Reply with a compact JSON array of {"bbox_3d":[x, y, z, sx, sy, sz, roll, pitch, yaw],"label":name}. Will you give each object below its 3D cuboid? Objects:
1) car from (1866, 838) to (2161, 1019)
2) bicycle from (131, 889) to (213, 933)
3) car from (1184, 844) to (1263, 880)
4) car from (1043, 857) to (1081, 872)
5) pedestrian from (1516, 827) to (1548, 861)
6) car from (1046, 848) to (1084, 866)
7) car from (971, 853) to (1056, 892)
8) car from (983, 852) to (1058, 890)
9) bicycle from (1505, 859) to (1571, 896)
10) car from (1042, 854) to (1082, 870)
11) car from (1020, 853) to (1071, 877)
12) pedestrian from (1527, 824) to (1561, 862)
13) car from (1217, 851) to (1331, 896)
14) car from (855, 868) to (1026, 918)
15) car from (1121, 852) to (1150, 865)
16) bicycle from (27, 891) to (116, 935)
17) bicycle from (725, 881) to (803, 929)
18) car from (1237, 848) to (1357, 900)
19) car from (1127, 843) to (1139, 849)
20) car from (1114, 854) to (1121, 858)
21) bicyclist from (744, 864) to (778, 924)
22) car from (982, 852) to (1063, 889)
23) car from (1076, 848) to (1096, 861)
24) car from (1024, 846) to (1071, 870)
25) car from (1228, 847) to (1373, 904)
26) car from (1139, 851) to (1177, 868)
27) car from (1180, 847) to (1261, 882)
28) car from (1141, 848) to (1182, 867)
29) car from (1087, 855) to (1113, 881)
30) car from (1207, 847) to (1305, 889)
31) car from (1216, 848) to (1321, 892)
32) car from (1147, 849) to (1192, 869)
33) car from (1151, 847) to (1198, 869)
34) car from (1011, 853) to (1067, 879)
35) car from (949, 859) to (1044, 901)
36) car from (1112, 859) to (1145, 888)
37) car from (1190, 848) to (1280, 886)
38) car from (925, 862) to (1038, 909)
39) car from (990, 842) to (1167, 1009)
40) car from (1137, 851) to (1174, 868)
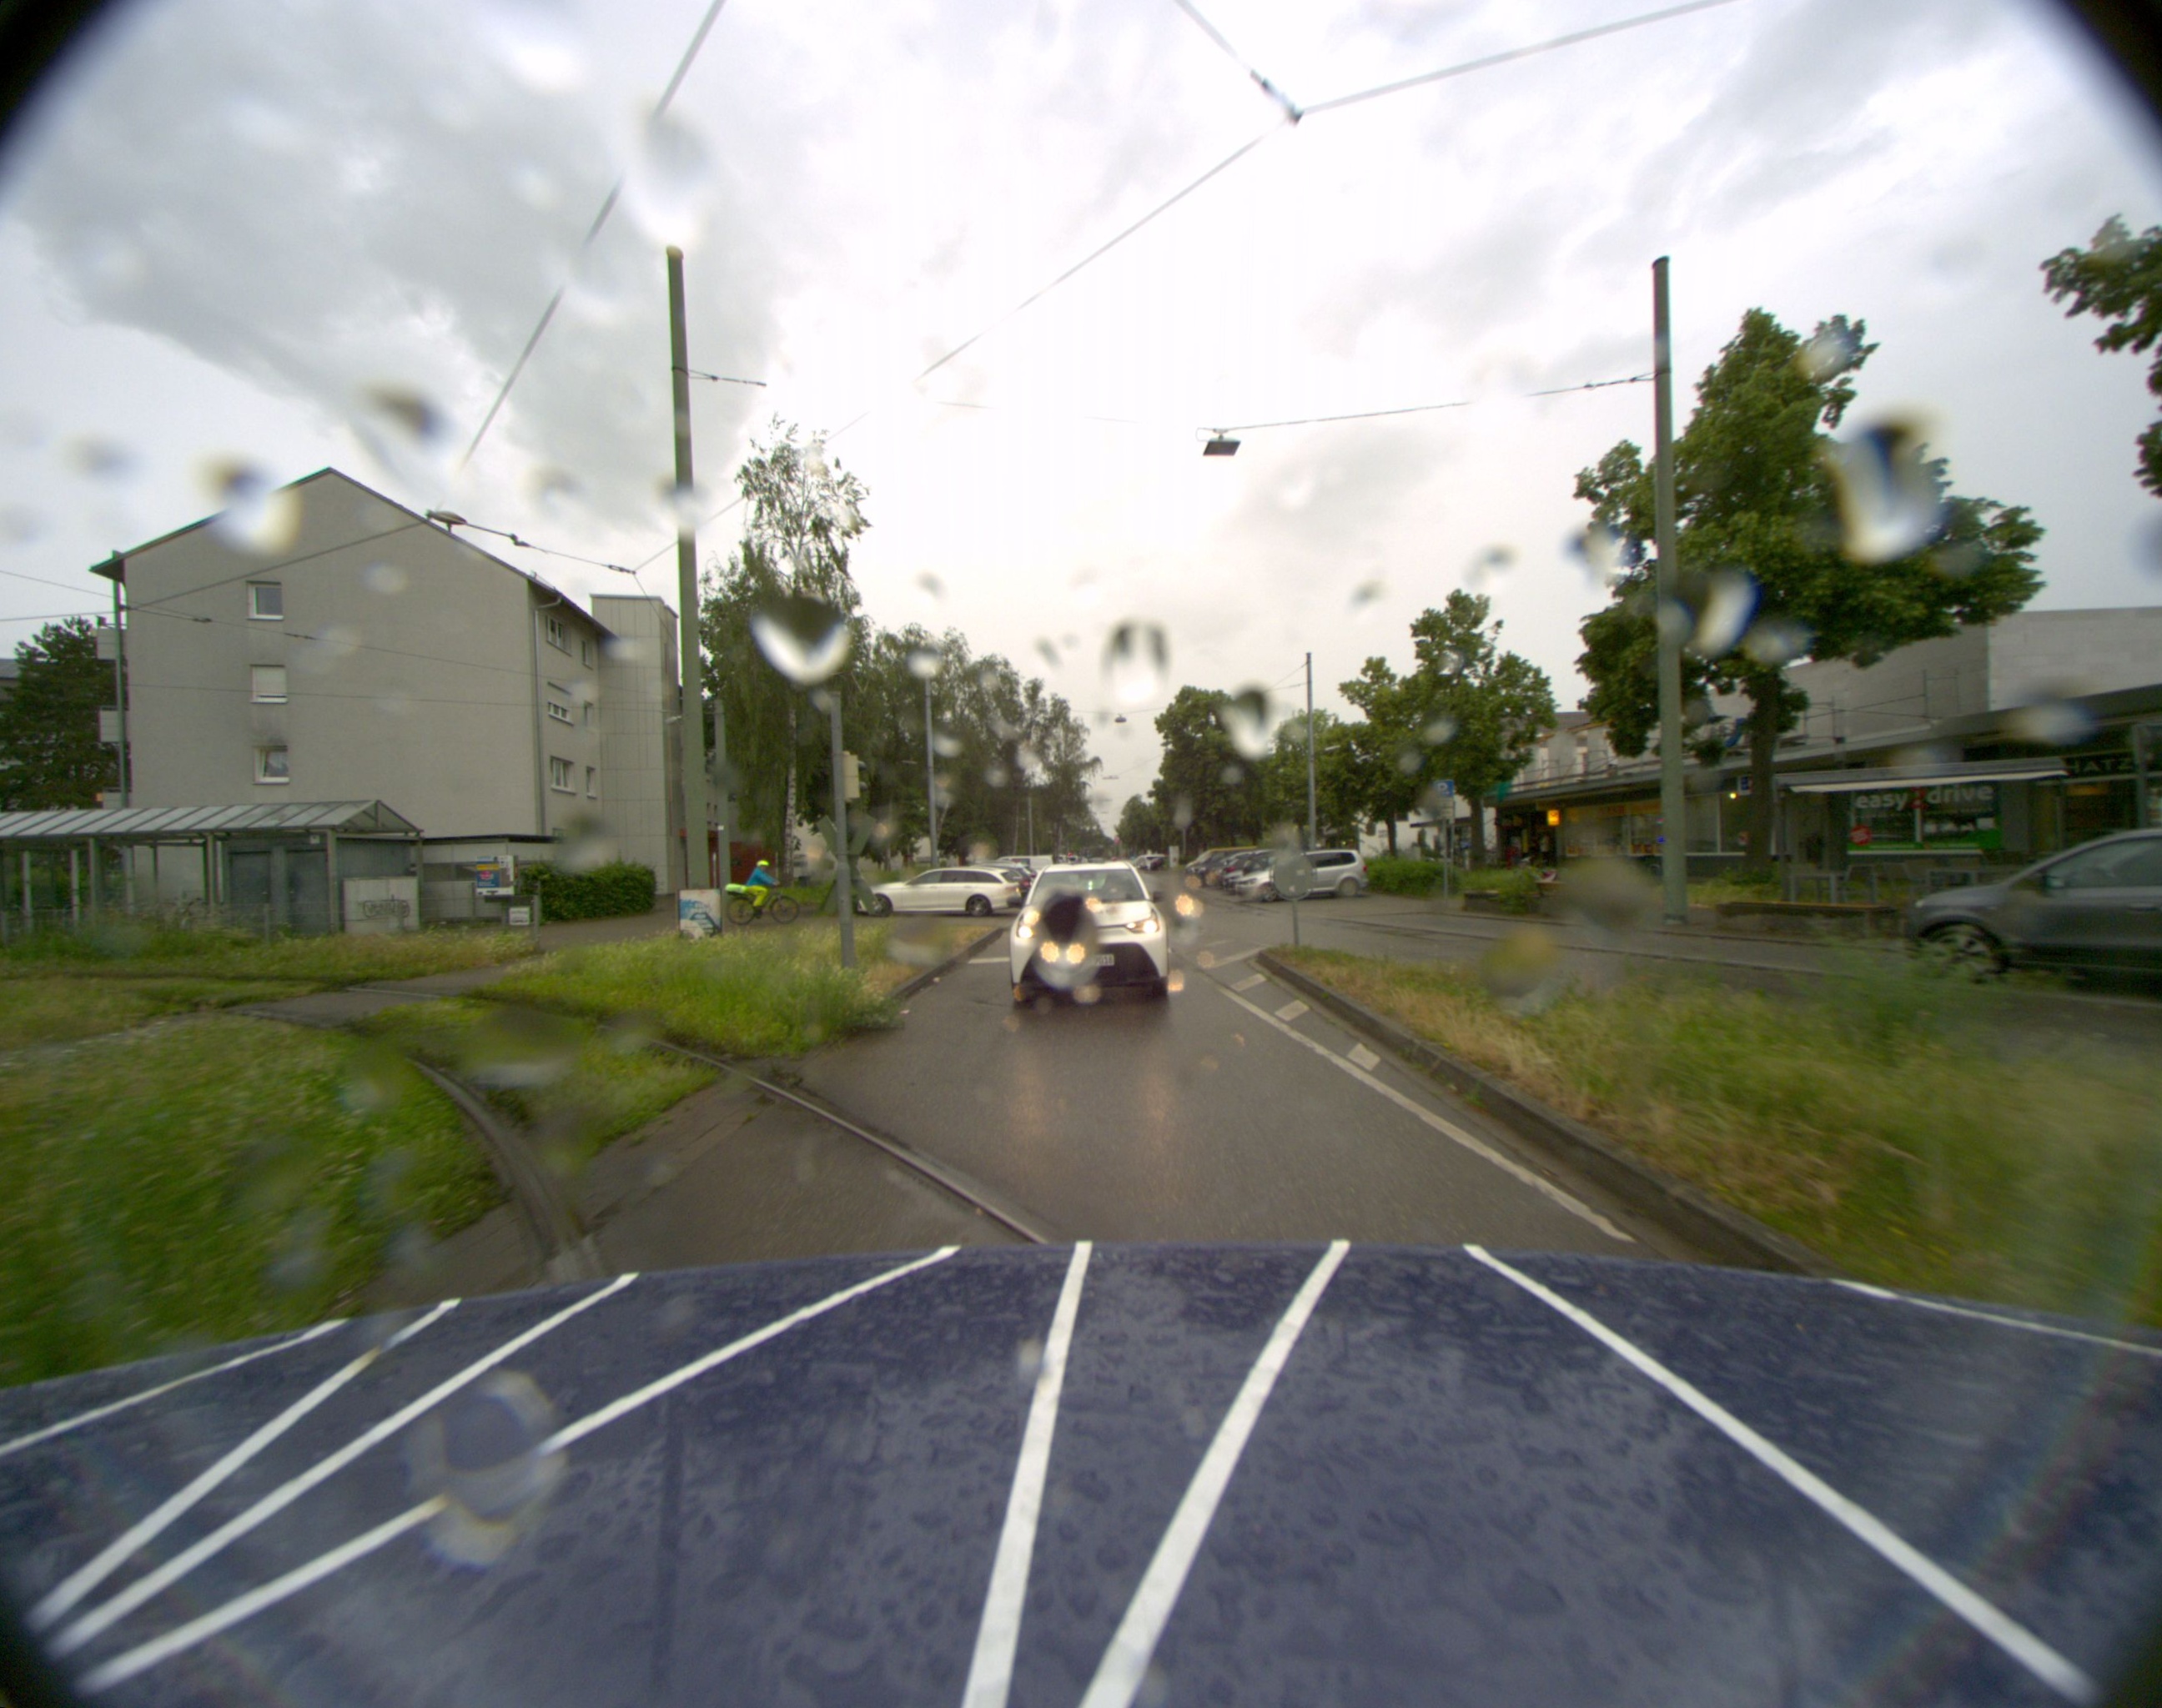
[{"bbox_3d":[9.988,0.631,6.905,1.553,1.494,3.618,-4,0,-16],"label":"car"},{"bbox_3d":[-21.981,1.370,18.397,0.377,0.950,1.238,-4,0,4],"label":"bicycle"},{"bbox_3d":[8.900,0.502,47.660,4.546,1.931,1.899,-3,0,0],"label":"car"},{"bbox_3d":[-2.287,1.301,91.859,4.546,1.574,1.899,-3,0,0],"label":"car"},{"bbox_3d":[21.672,-0.482,36.551,1.078,1.575,0.948,-1,1,12],"label":"pedestrian"},{"bbox_3d":[-2.002,0.422,94.942,4.546,2.013,1.899,-3,0,0],"label":"car"},{"bbox_3d":[-3.698,1.003,42.165,4.441,1.835,1.723,-4,0,2],"label":"car"},{"bbox_3d":[-3.741,1.049,47.409,4.443,2.050,1.722,-4,0,-2],"label":"car"},{"bbox_3d":[13.842,0.701,23.067,0.594,1.066,1.748,-1,0,-16],"label":"bicycle"},{"bbox_3d":[-2.164,0.908,88.448,4.546,1.574,1.899,-3,0,0],"label":"car"},{"bbox_3d":[-3.223,0.990,69.885,4.546,1.931,1.899,-3,0,0],"label":"car"},{"bbox_3d":[21.488,-0.499,35.272,1.078,1.704,0.948,-1,1,12],"label":"pedestrian"},{"bbox_3d":[7.845,0.784,31.201,4.088,1.562,2.000,-3,0,0],"label":"car"},{"bbox_3d":[-4.213,1.166,23.344,4.837,1.449,2.000,0,0,2],"label":"car"},{"bbox_3d":[9.135,0.714,127.664,4.546,1.931,1.899,-3,0,0],"label":"car"},{"bbox_3d":[-24.381,1.405,18.384,0.377,0.942,1.238,-4,0,4],"label":"bicycle"},{"bbox_3d":[-8.206,1.315,19.744,1.755,1.123,0.727,-2,-1,-17],"label":"bicycle"},{"bbox_3d":[8.036,0.735,28.531,3.944,1.664,1.794,-3,0,0],"label":"car"},{"bbox_3d":[17.169,-2.795,251.641,3.997,1.688,2.000,-4,0,1],"label":"car"},{"bbox_3d":[11.360,0.655,236.738,1.998,1.319,4.000,-4,0,1],"label":"car"},{"bbox_3d":[-8.292,1.027,19.720,0.699,1.507,0.724,-2,-1,-17],"label":"bicyclist"},{"bbox_3d":[-3.402,0.942,44.460,4.441,1.835,1.723,-4,0,2],"label":"car"},{"bbox_3d":[1.234,0.059,185.293,4.546,2.928,1.899,-3,0,0],"label":"car"},{"bbox_3d":[-3.261,0.421,74.061,4.443,2.050,1.722,-4,0,-2],"label":"car"},{"bbox_3d":[7.416,0.719,26.033,4.334,1.664,2.000,-3,0,0],"label":"car"},{"bbox_3d":[9.812,0.701,96.679,4.545,1.931,1.899,-3,0,1],"label":"car"},{"bbox_3d":[8.154,0.614,44.600,4.302,1.799,1.899,-3,0,0],"label":"car"},{"bbox_3d":[9.424,0.426,89.286,4.546,1.931,1.899,-3,0,0],"label":"car"},{"bbox_3d":[1.598,1.172,64.706,1.998,2.002,4.000,-4,0,0],"label":"car"},{"bbox_3d":[8.126,0.649,35.616,4.088,1.699,1.899,-3,0,0],"label":"car"},{"bbox_3d":[8.200,0.692,33.453,4.088,1.699,1.899,-3,0,0],"label":"car"},{"bbox_3d":[9.683,0.554,83.274,4.546,1.931,1.899,-3,0,0],"label":"car"},{"bbox_3d":[9.673,0.412,79.052,4.546,1.931,1.899,-3,0,0],"label":"car"},{"bbox_3d":[-3.572,1.028,64.535,4.546,1.931,1.899,-3,0,0],"label":"car"},{"bbox_3d":[-3.786,1.161,34.609,3.996,1.576,1.723,-4,0,2],"label":"car"},{"bbox_3d":[3.037,1.244,49.697,1.962,1.544,3.999,-3,2,2],"label":"car"},{"bbox_3d":[7.788,0.643,38.673,4.088,1.699,1.899,-3,0,0],"label":"car"},{"bbox_3d":[-3.806,1.187,29.392,3.996,1.477,1.723,-4,0,2],"label":"car"},{"bbox_3d":[0.086,0.777,9.502,1.719,1.613,3.717,-2,-2,3],"label":"car"},{"bbox_3d":[9.750,0.703,99.290,4.546,1.931,1.899,-3,0,0],"label":"car"}]
